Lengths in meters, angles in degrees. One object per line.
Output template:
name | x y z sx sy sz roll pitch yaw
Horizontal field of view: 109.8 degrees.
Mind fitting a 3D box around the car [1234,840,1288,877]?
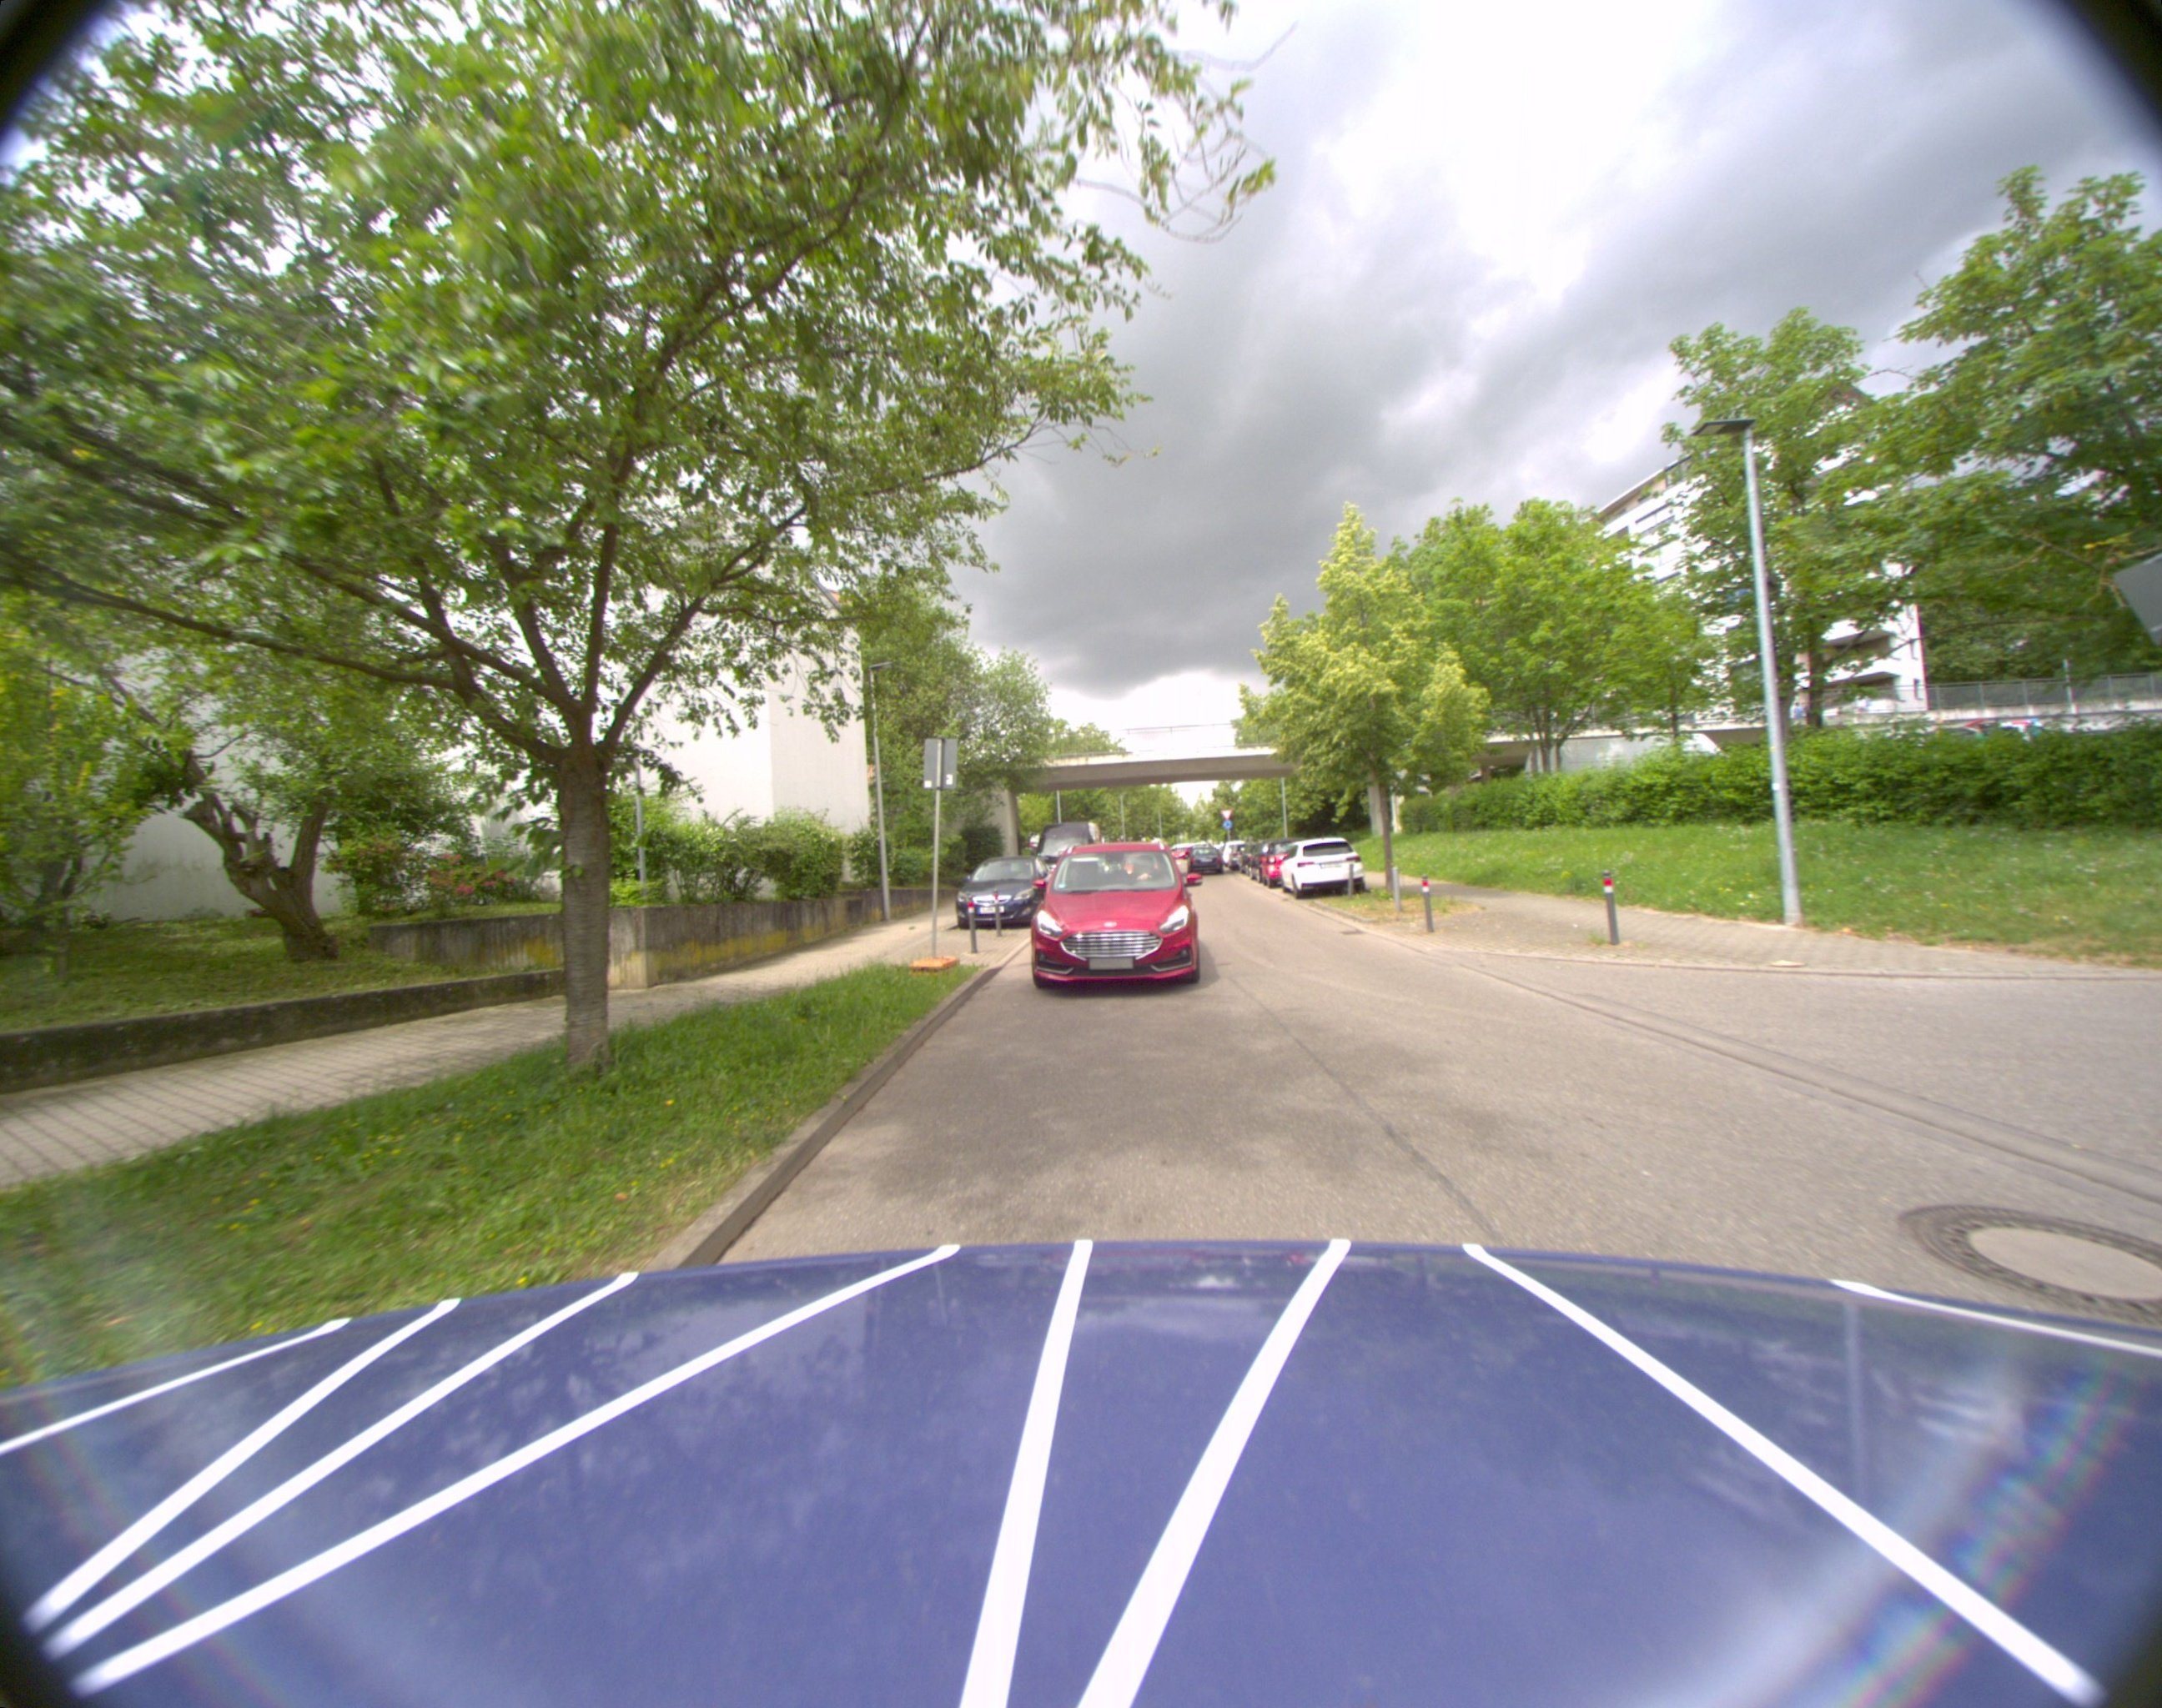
car | 8.384 0.168 35.733 1.812 1.472 4.487 -5 1 6

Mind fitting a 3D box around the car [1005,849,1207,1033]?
car | 0.466 0.816 8.948 1.812 1.600 3.723 -3 1 8

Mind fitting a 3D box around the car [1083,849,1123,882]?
car | 1.172 0.555 38.514 1.604 1.479 3.723 -3 1 8

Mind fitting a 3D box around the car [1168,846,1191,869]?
car | 8.265 0.262 63.860 1.779 1.413 3.999 -5 4 7

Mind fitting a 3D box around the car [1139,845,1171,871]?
car | 4.845 0.218 49.206 1.779 1.443 4.002 -3 1 8

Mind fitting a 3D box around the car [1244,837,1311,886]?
car | 7.451 0.246 29.148 1.812 1.575 3.986 -5 0 6

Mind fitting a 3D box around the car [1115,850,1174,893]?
car | 2.530 0.633 29.461 1.860 1.434 4.003 -4 0 9

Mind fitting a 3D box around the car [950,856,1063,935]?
car | -1.512 0.827 16.891 1.694 1.412 4.001 -2 1 5

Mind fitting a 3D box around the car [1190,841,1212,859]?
car | 11.202 -0.381 70.705 1.811 1.561 3.725 -1 1 12

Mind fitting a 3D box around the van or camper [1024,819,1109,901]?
van or camper | -0.361 0.117 26.667 1.997 2.481 5.760 -3 1 8

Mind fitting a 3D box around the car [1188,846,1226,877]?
car | 6.521 0.347 39.485 1.755 1.411 4.370 -2 1 9

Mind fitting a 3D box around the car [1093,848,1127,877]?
car | 1.761 0.453 44.621 1.604 1.534 3.723 -3 1 8

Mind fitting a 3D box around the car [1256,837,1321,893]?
car | 6.776 0.307 25.048 1.597 1.576 2.686 -7 1 9

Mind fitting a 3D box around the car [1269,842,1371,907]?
car | 6.324 0.465 20.525 1.812 1.397 4.049 -5 1 7

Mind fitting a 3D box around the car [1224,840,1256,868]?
car | 9.894 -0.023 47.442 1.811 1.561 3.724 -3 1 11

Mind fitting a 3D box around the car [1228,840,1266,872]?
car | 9.125 0.070 42.019 1.811 1.447 3.863 -6 0 11

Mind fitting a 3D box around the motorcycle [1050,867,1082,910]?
motorcycle | -0.440 0.946 21.360 0.710 1.061 1.929 -3 1 -5
